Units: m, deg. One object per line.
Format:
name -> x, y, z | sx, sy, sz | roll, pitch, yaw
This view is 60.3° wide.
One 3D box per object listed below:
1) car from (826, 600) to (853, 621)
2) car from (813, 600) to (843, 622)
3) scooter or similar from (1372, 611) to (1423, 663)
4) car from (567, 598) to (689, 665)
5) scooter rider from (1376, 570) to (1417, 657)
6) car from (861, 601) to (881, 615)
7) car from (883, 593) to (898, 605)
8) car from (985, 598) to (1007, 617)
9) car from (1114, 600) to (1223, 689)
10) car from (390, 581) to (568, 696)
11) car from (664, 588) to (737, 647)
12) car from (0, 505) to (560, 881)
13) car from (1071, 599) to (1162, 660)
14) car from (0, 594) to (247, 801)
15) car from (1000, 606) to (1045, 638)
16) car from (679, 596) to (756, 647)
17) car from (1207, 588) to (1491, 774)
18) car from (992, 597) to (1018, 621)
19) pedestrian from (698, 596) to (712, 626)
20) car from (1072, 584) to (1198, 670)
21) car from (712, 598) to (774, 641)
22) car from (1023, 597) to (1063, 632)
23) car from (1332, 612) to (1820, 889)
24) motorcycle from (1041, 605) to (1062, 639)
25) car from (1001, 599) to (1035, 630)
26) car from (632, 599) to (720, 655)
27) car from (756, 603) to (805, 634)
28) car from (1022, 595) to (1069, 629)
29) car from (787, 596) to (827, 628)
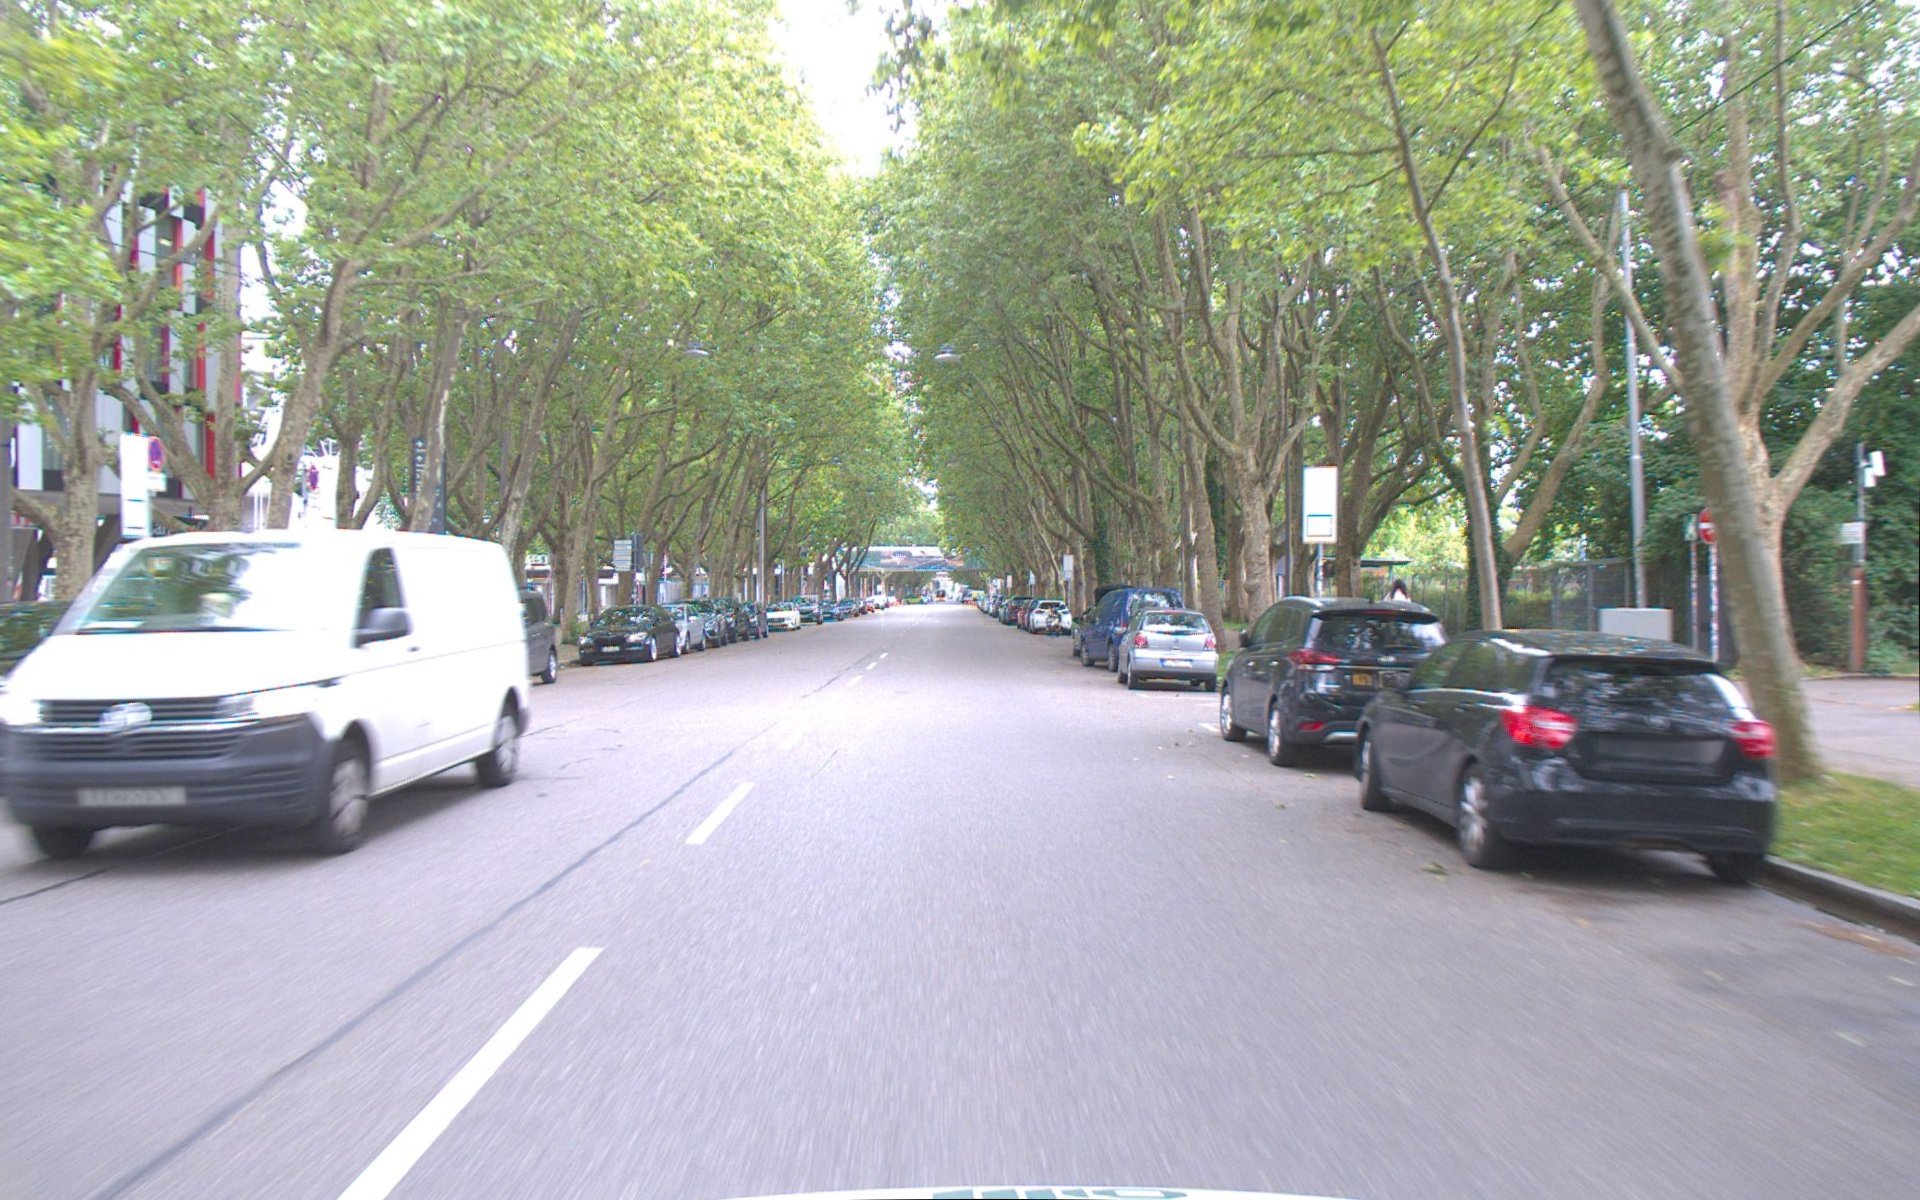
car -> -9.661, 0.835, 132.942 | 1.839, 1.553, 4.151 | -1, 0, 0
car -> -9.174, 0.730, 115.051 | 1.689, 1.512, 4.574 | 0, 0, 0
scooter or similar -> 9.409, 0.783, 35.621 | 0.666, 1.056, 1.467 | -3, 0, 0
car -> -8.608, 0.775, 43.353 | 2.041, 1.556, 5.146 | -2, 0, 1
scooter rider -> 9.396, 0.289, 35.635 | 0.662, 1.831, 0.587 | -2, 0, 0
car -> -10.051, 0.918, 187.429 | 2.031, 1.590, 4.756 | 0, 0, 0
car -> -10.120, -0.182, 239.870 | 1.955, 1.629, 3.996 | 0, 0, -5
car -> 3.281, 0.687, 150.571 | 1.864, 1.769, 4.506 | 0, 0, 0
car -> 3.848, 0.775, 31.031 | 1.585, 1.487, 3.946 | 2, 0, 1
car -> -8.602, 0.653, 29.997 | 1.857, 1.826, 4.611 | -3, 0, -1
car -> -8.478, 0.545, 54.443 | 1.832, 1.748, 4.645 | -3, 0, -3
car -> -4.496, 0.483, 11.639 | 2.017, 1.995, 5.465 | -1, 0, 0
car -> 4.138, 0.753, 44.333 | 1.953, 1.504, 4.371 | 1, 0, 0
car -> -8.388, 0.814, 15.008 | 1.780, 1.621, 4.345 | -3, 0, 2
car -> 3.052, 1.087, 81.974 | 1.682, 1.464, 4.625 | 2, 0, -4
car -> -8.780, 0.751, 60.312 | 1.898, 1.671, 4.928 | -3, 0, 1
car -> 3.889, 0.728, 17.337 | 1.792, 1.630, 4.466 | 2, 0, -1
car -> 3.342, 0.699, 124.032 | 1.673, 1.728, 4.629 | 2, 0, -2
pedestrian -> -15.489, 0.686, 100.465 | 0.564, 1.801, 0.768 | 0, 0, 14
car -> 3.983, 0.582, 38.375 | 1.808, 1.814, 4.438 | 2, 0, -9
car -> -8.603, 0.751, 65.869 | 1.796, 1.520, 4.442 | -3, 0, 0
car -> 3.887, 0.672, 78.129 | 1.694, 1.496, 4.080 | 2, 0, 1
car -> 3.954, 0.862, 11.457 | 1.739, 1.443, 4.287 | 2, 0, 0
motorcycle -> 3.732, 0.871, 67.146 | 0.697, 1.355, 1.994 | 0, 0, 8
car -> 3.286, 0.812, 94.274 | 1.720, 1.648, 4.438 | 2, 0, 0
car -> -8.364, 0.769, 49.032 | 1.796, 1.481, 4.230 | -3, 0, 0
car -> -9.018, 0.915, 83.396 | 1.865, 1.427, 4.751 | -3, 0, 0
car -> 3.713, 0.504, 72.351 | 1.700, 1.464, 4.121 | 0, 0, -2
car -> -8.912, 0.680, 96.675 | 1.909, 1.781, 4.637 | -2, 0, -1
